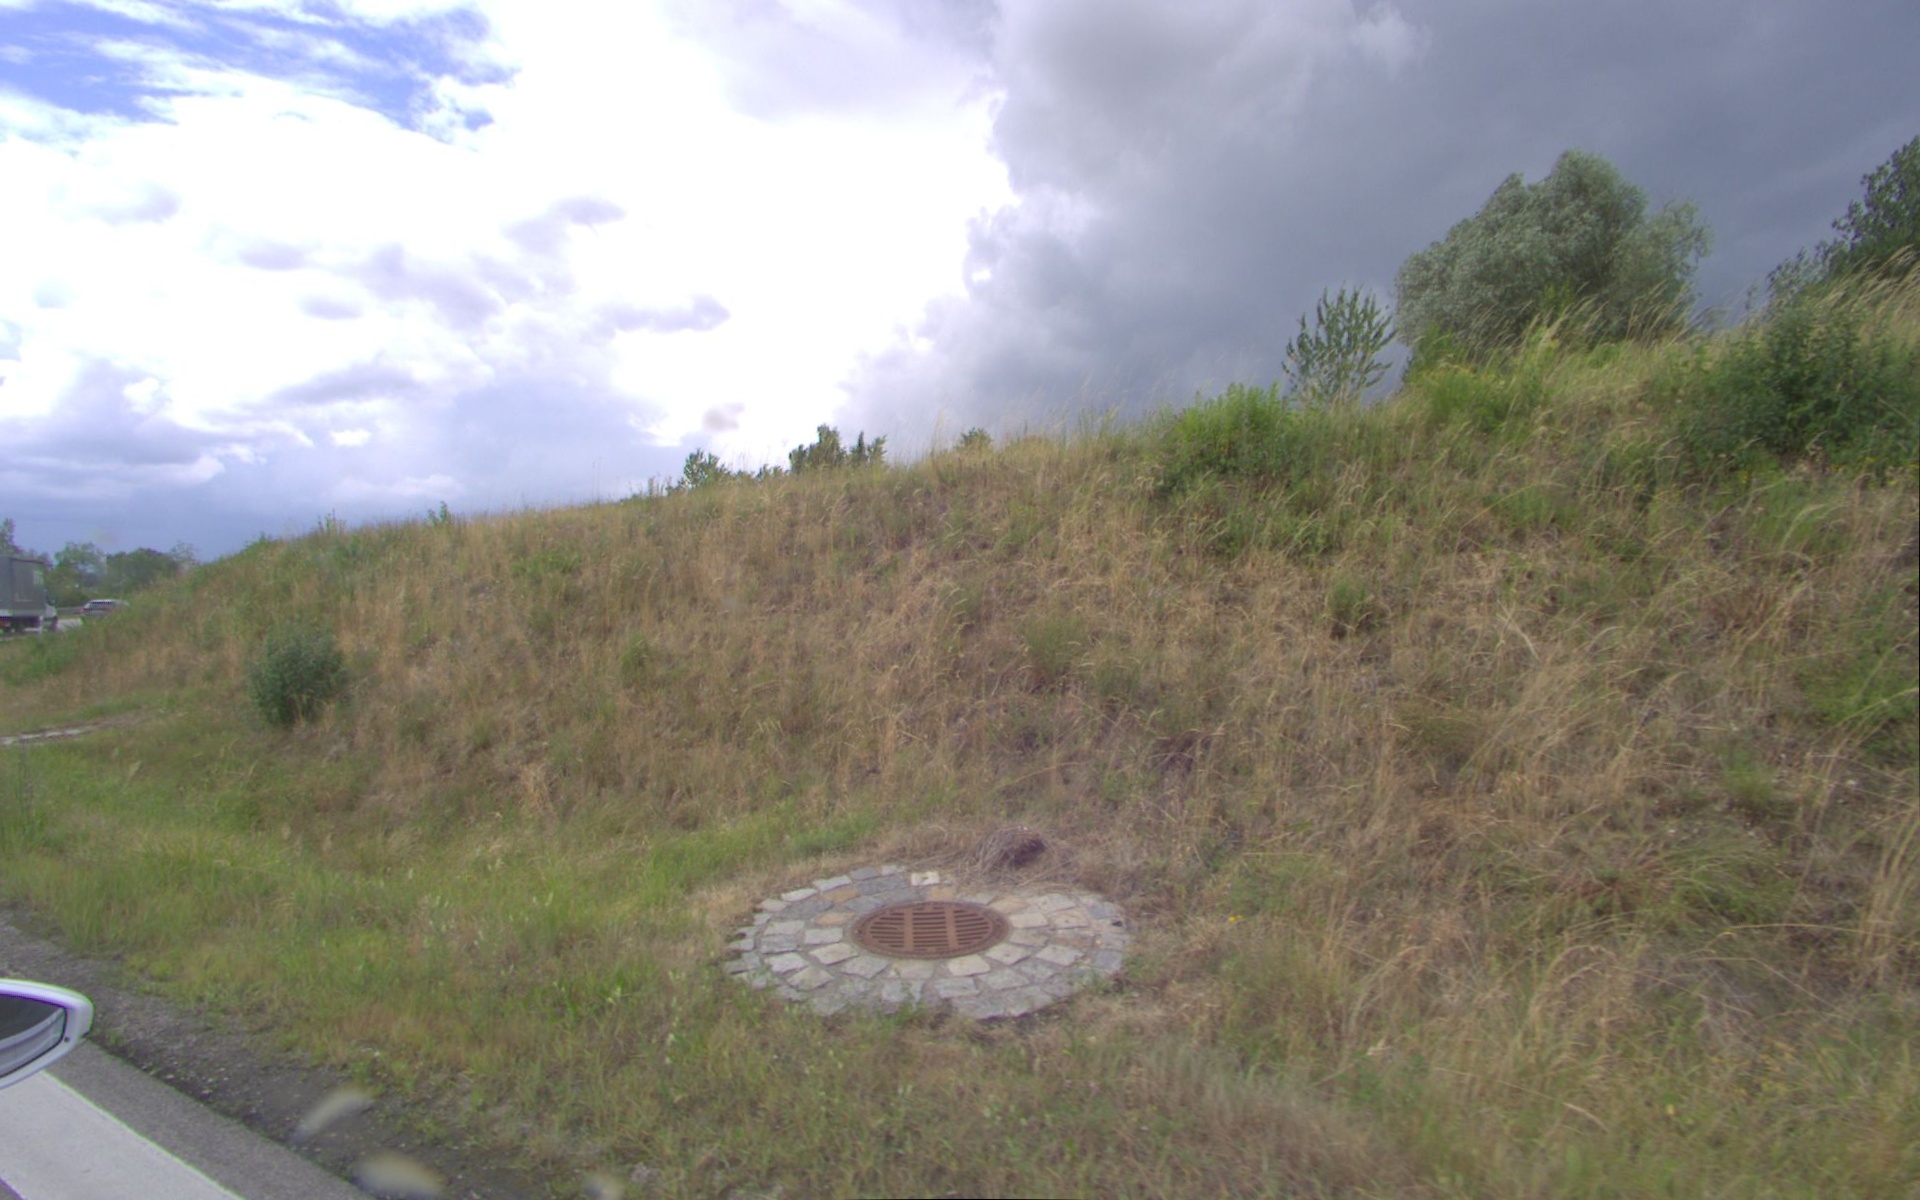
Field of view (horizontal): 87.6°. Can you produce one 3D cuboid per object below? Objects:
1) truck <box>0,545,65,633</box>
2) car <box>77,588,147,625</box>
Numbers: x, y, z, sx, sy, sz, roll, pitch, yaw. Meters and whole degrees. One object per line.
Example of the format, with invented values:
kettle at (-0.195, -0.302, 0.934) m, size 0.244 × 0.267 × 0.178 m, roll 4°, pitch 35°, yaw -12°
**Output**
truck at (-45.139, -0.400, 47.712) m, size 2.202 × 3.956 × 5.992 m, roll 0°, pitch -2°, yaw -27°
car at (-49.887, 0.418, 59.001) m, size 1.967 × 2.039 × 3.990 m, roll 0°, pitch -2°, yaw -22°
